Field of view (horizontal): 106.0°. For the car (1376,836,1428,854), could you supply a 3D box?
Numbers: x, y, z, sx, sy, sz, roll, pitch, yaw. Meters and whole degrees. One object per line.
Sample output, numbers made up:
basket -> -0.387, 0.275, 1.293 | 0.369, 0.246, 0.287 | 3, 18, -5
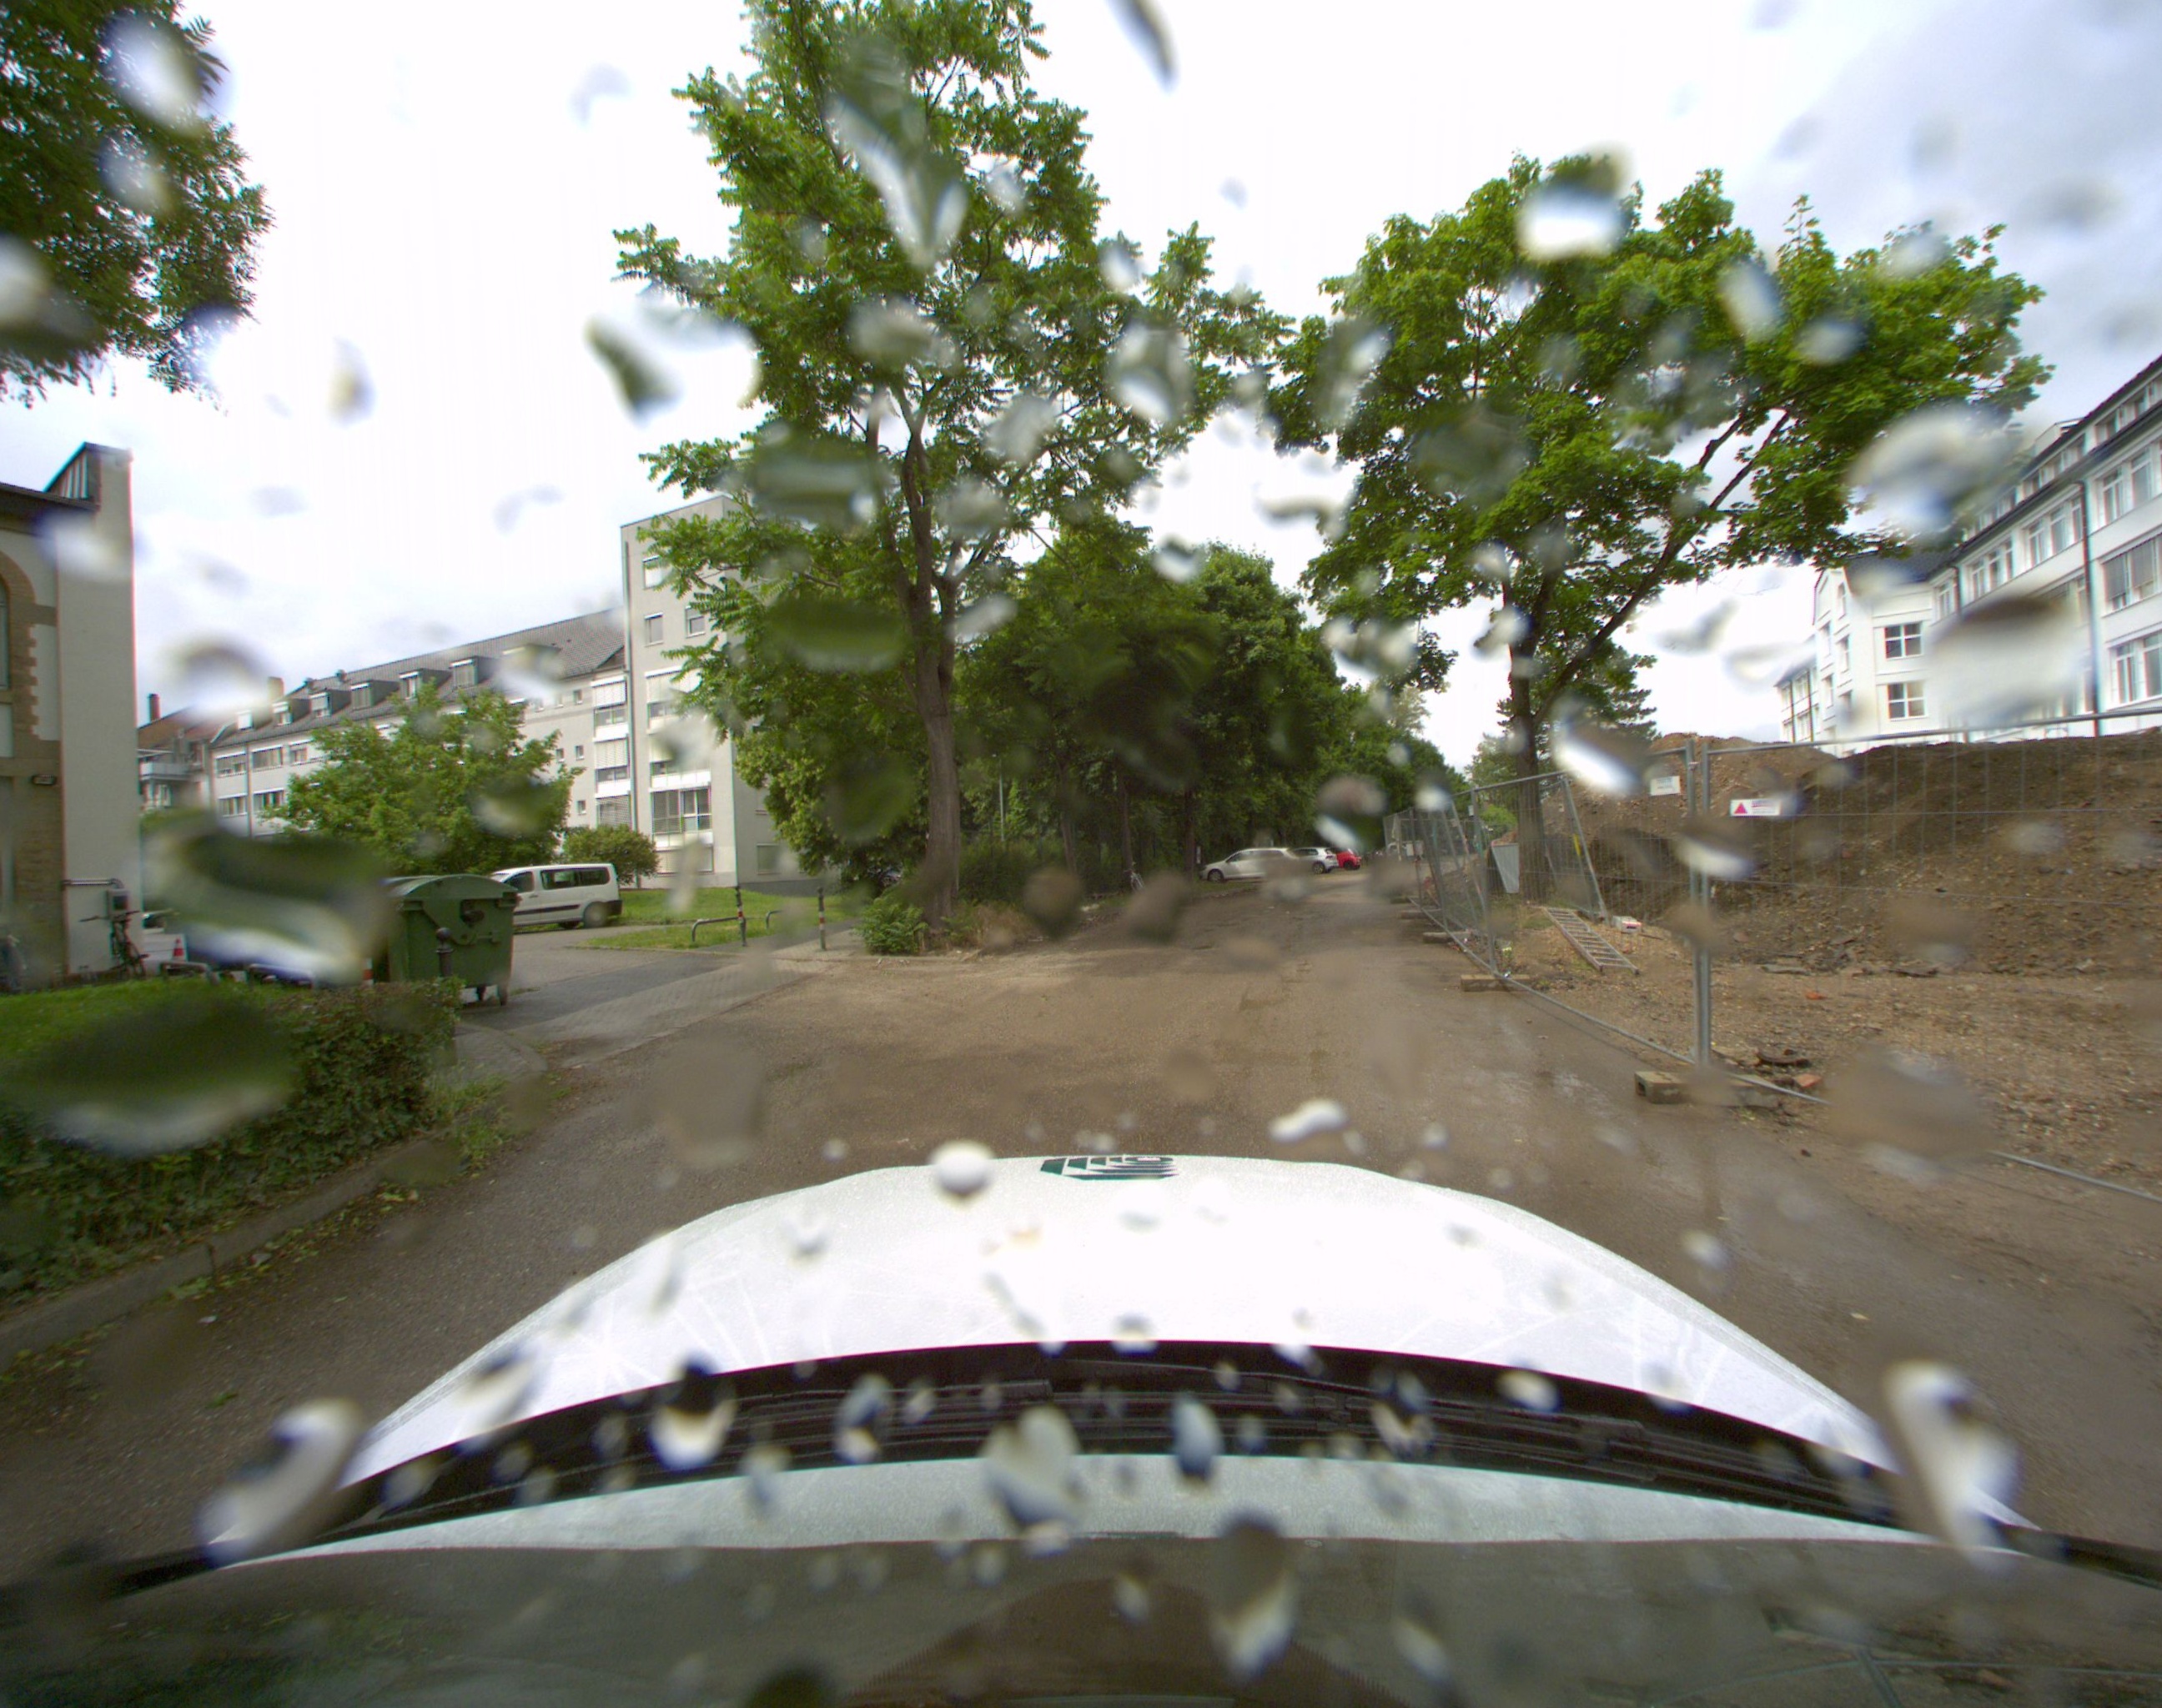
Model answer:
car -> 28.354, -0.779, 72.033 | 3.996, 1.409, 1.994 | -2, -2, 30

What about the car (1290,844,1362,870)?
car -> 14.777, 0.213, 48.992 | 4.001, 1.409, 1.991 | -2, -1, 20

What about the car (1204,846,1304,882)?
car -> 7.632, 0.456, 35.876 | 4.001, 1.409, 1.991 | -2, -1, 20

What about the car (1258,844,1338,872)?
car -> 11.732, 0.230, 43.962 | 4.001, 1.409, 1.991 | -2, -1, 20

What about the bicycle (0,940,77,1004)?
bicycle -> -15.357, 1.701, 11.968 | 2.030, 0.799, 0.456 | -2, -2, 30

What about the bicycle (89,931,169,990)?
bicycle -> -14.862, 1.633, 12.705 | 2.030, 0.799, 0.456 | -2, -2, 30

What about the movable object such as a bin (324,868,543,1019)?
movable object such as a bin -> -7.137, 0.915, 9.018 | 1.541, 1.471, 1.422 | -2, -2, 30

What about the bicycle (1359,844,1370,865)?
bicycle -> 18.315, 0.062, 52.568 | 0.591, 1.308, 2.681 | -2, -1, 18

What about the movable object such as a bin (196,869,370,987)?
movable object such as a bin -> -10.916, 0.955, 11.173 | 1.348, 1.471, 1.372 | -2, -2, 30

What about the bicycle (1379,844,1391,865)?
bicycle -> 19.473, 0.029, 52.218 | 0.591, 1.308, 2.681 | -2, -1, 18

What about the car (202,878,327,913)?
car -> -42.168, 2.126, 42.163 | 1.810, 1.455, 4.136 | -3, 0, 26

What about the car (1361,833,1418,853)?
car -> 24.875, -0.852, 65.657 | 3.996, 1.409, 1.994 | -2, -2, 30

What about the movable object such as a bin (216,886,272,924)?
movable object such as a bin -> -30.319, 1.839, 29.519 | 1.042, 1.317, 1.185 | -2, -2, 29

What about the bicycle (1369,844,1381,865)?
bicycle -> 18.891, 0.060, 52.388 | 0.591, 1.267, 2.681 | -2, -1, 18

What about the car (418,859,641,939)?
car -> -15.955, 1.224, 23.865 | 1.974, 2.014, 4.985 | -3, -1, 33

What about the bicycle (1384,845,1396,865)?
bicycle -> 21.255, 0.072, 56.054 | 0.591, 1.308, 2.681 | -2, -1, 18

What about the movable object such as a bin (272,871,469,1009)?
movable object such as a bin -> -8.483, 0.965, 9.756 | 1.446, 1.471, 1.372 | -2, -2, 30

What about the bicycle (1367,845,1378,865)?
bicycle -> 20.187, 0.103, 56.405 | 0.591, 1.308, 2.681 | -2, -1, 18

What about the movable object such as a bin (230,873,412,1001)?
movable object such as a bin -> -9.727, 1.005, 10.457 | 1.335, 1.471, 1.372 | -2, -2, 30

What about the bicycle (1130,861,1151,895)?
bicycle -> 1.662, 0.645, 22.583 | 0.464, 0.879, 1.574 | -1, 0, 8

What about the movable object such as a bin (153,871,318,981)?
movable object such as a bin -> -12.305, 1.001, 11.881 | 1.348, 1.471, 1.372 | -2, -2, 30
